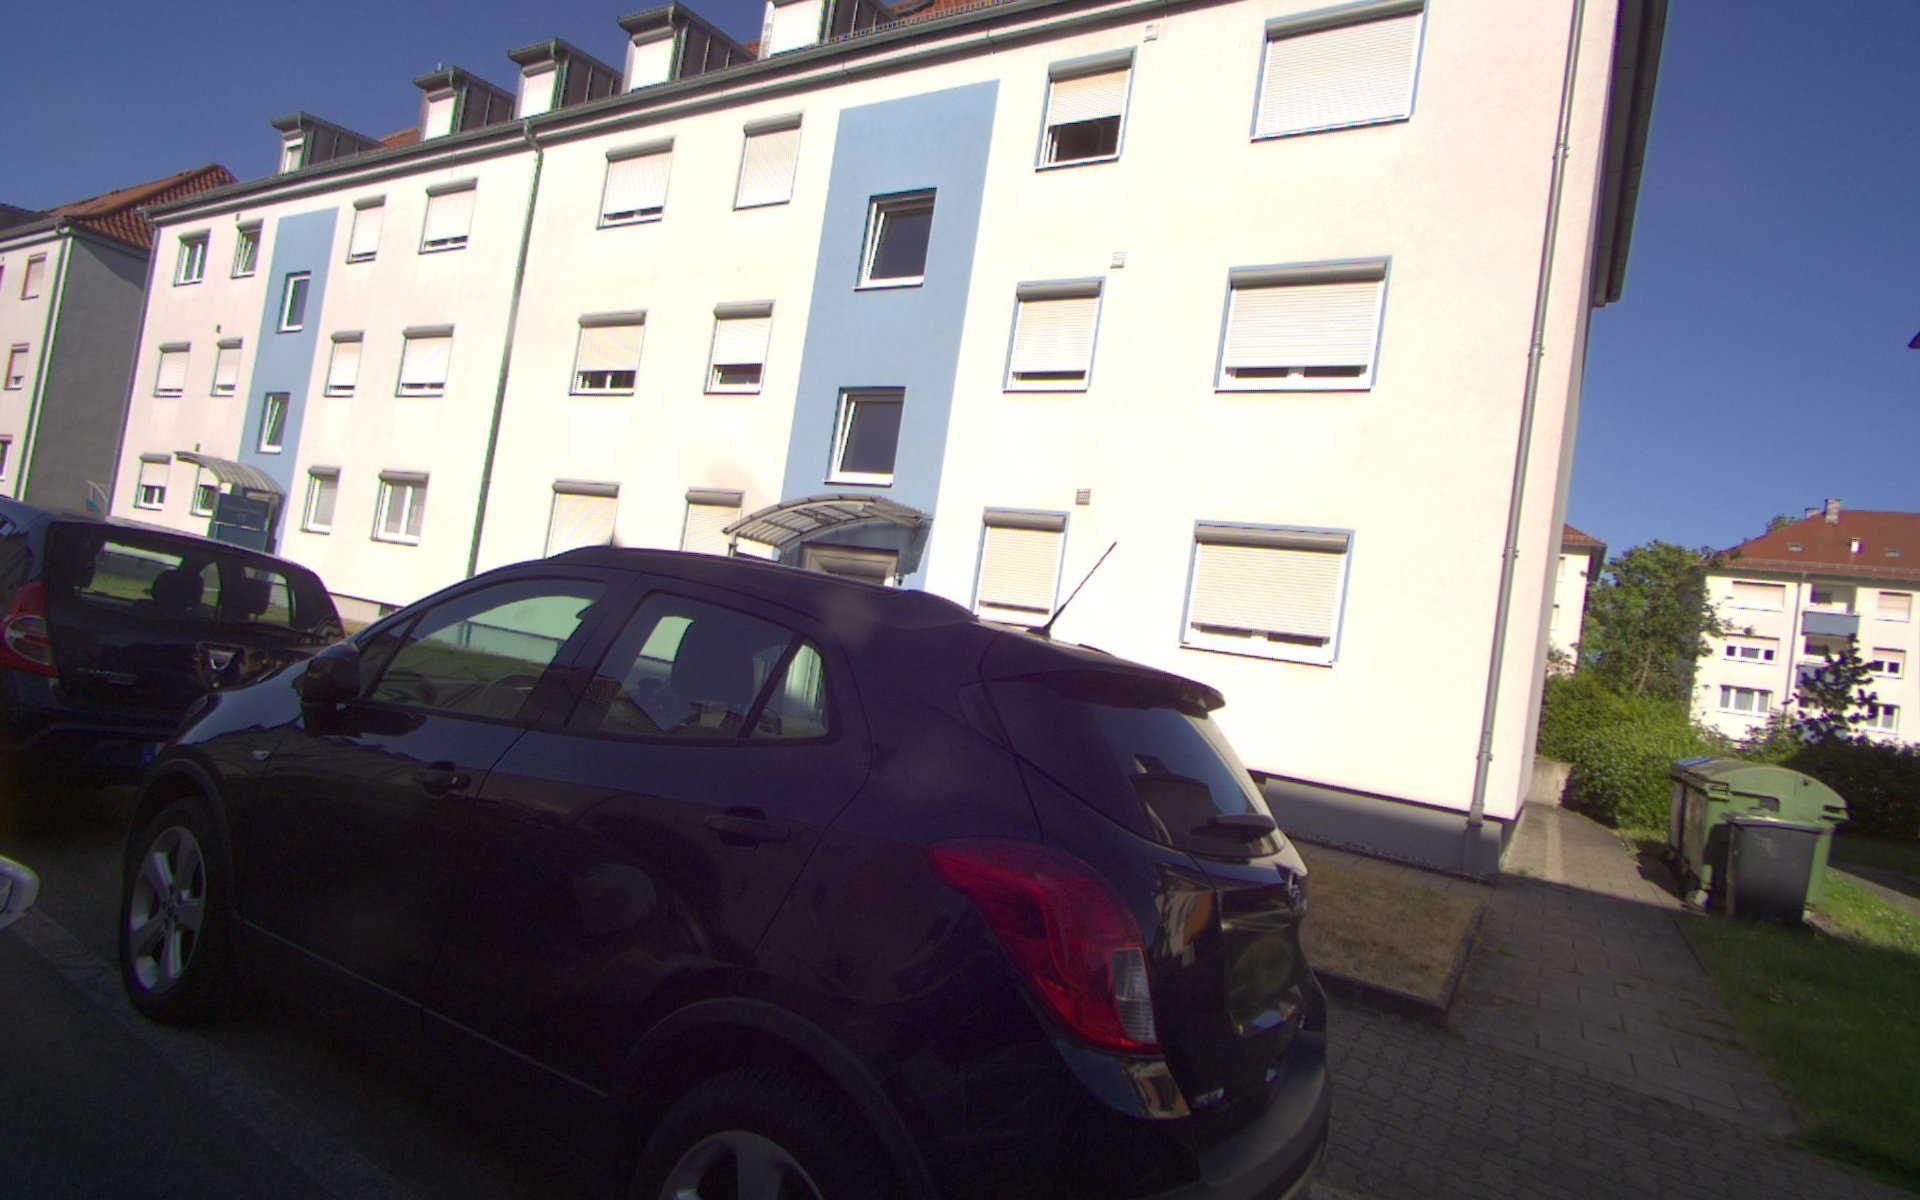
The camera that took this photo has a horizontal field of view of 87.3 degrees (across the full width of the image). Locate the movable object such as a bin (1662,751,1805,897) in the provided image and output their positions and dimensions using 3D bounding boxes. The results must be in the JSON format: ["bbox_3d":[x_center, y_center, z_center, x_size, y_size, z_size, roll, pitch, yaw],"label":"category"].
[{"bbox_3d":[9.285,2.642,12.156,1.124,1.442,1.345,5,-2,32],"label":"movable object such as a bin"}]

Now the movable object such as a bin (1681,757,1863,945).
[{"bbox_3d":[7.695,2.321,9.632,1.088,1.423,1.330,5,-2,32],"label":"movable object such as a bin"}]

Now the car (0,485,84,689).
[{"bbox_3d":[-9.716,-0.422,8.759,4.360,1.591,1.696,8,-4,31],"label":"car"}]

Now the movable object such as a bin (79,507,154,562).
[{"bbox_3d":[-26.670,-2.053,31.825,1.168,1.431,1.363,7,-2,31],"label":"movable object such as a bin"}]

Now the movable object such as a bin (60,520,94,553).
[{"bbox_3d":[-27.255,-1.950,31.049,0.622,0.896,0.524,8,-2,32],"label":"movable object such as a bin"}]

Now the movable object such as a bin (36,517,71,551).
[{"bbox_3d":[-27.553,-2.007,30.580,0.622,0.896,0.524,8,-2,32],"label":"movable object such as a bin"}]

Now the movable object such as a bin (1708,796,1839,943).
[{"bbox_3d":[7.101,2.329,8.820,0.745,1.046,0.644,5,-2,32],"label":"movable object such as a bin"}]

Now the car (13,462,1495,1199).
[{"bbox_3d":[-0.945,0.696,3.184,4.395,1.665,1.789,8,-4,33],"label":"car"}]

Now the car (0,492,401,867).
[{"bbox_3d":[-5.220,0.196,5.754,4.088,1.515,1.645,8,-2,33],"label":"car"}]

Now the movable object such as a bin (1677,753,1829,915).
[{"bbox_3d":[8.548,2.472,10.920,1.038,1.428,1.345,5,-2,32],"label":"movable object such as a bin"}]
